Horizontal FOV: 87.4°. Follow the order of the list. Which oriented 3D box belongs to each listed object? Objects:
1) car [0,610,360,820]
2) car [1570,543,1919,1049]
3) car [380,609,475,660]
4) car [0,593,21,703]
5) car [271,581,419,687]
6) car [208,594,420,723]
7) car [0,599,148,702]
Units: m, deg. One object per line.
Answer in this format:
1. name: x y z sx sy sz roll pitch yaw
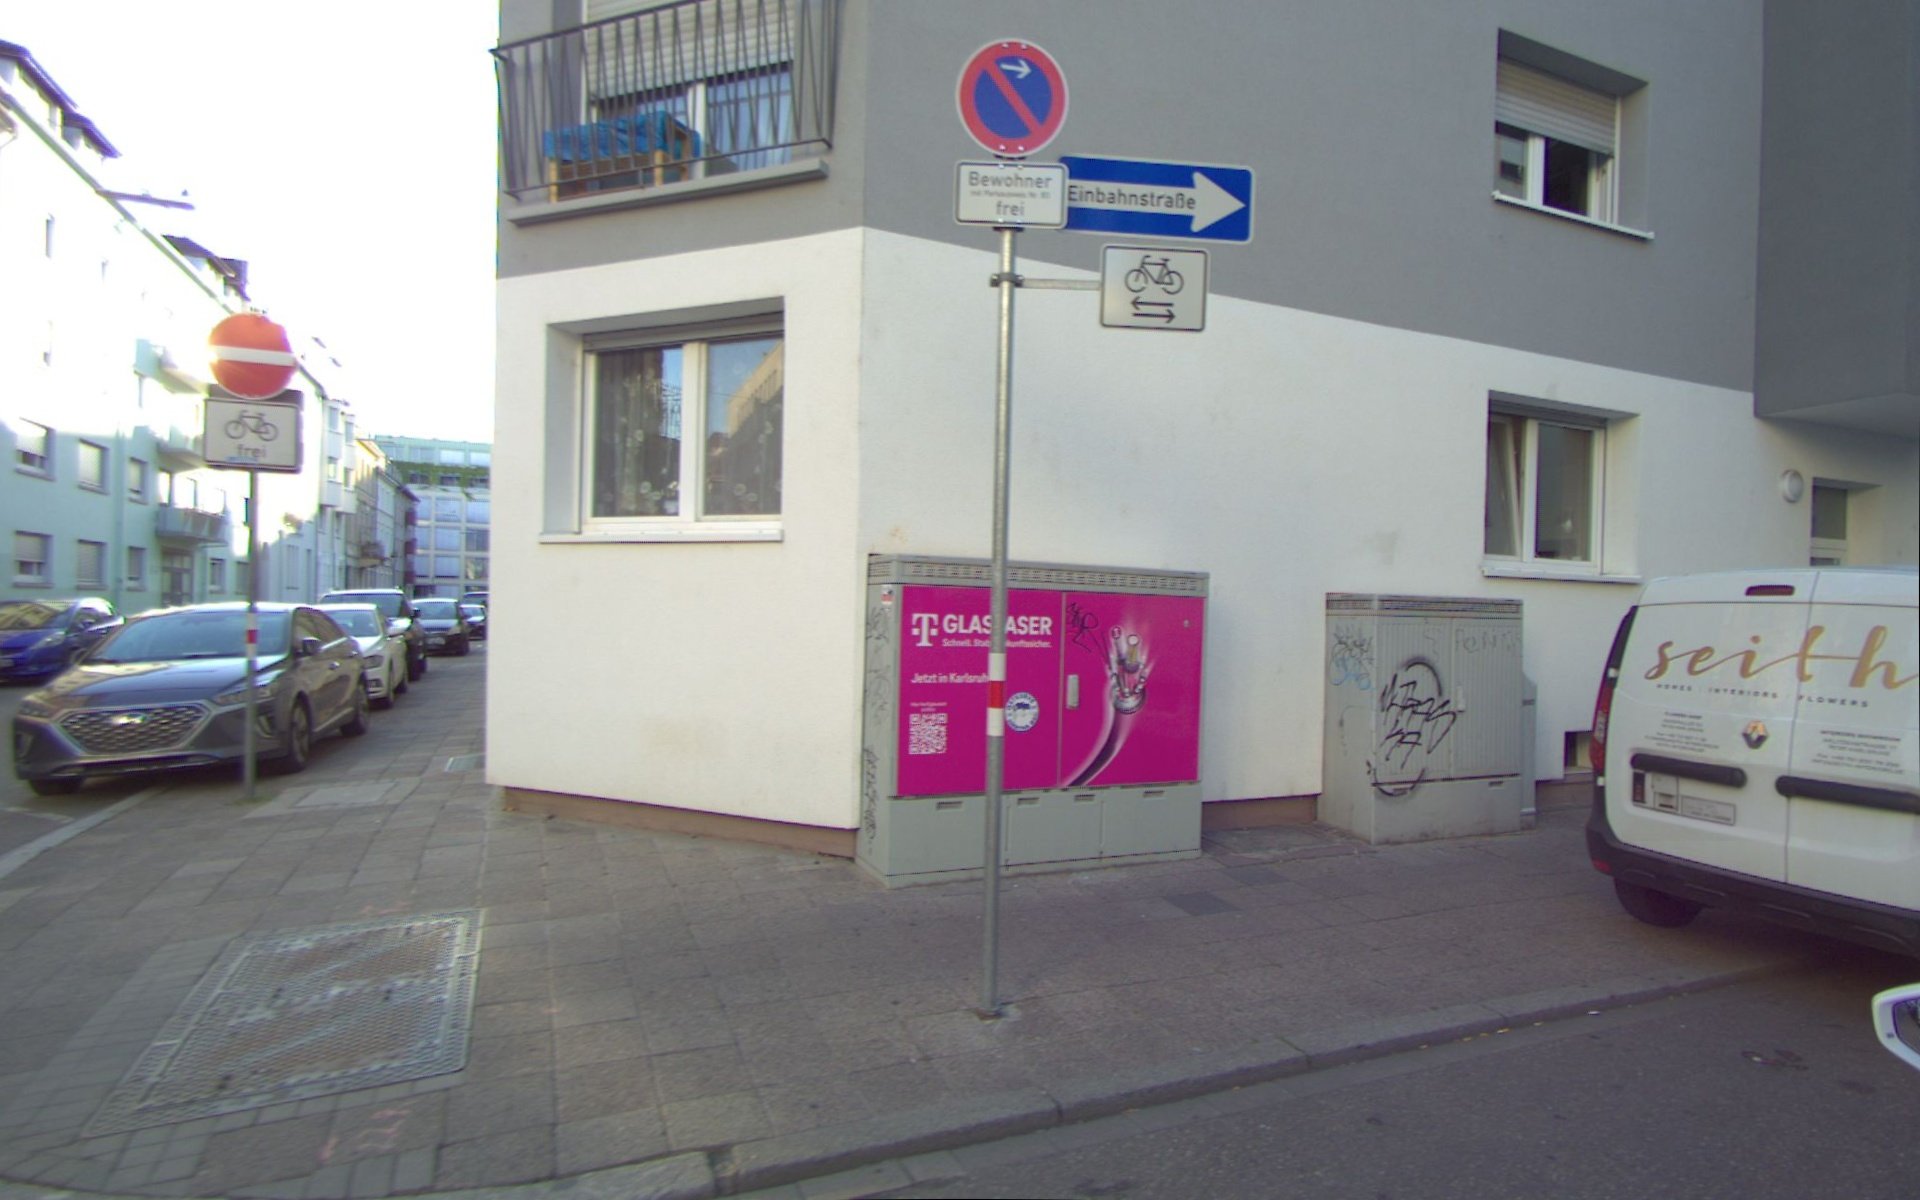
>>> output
1. car: -6.745 0.818 8.964 1.917 1.390 3.766 -1 0 -24
2. car: 5.176 0.747 4.981 4.127 1.838 1.627 1 0 -24
3. car: -15.109 0.950 28.709 1.971 1.304 3.979 1 -1 -22
4. car: -14.181 0.683 13.043 1.606 1.598 3.735 1 -1 -21
5. car: -11.647 0.602 19.291 1.873 1.808 3.977 1 -1 -24
6. car: -9.105 0.742 14.520 1.942 1.578 3.866 1 -1 -23
7. car: -16.513 0.835 18.155 1.765 1.681 3.797 1 -1 -21
